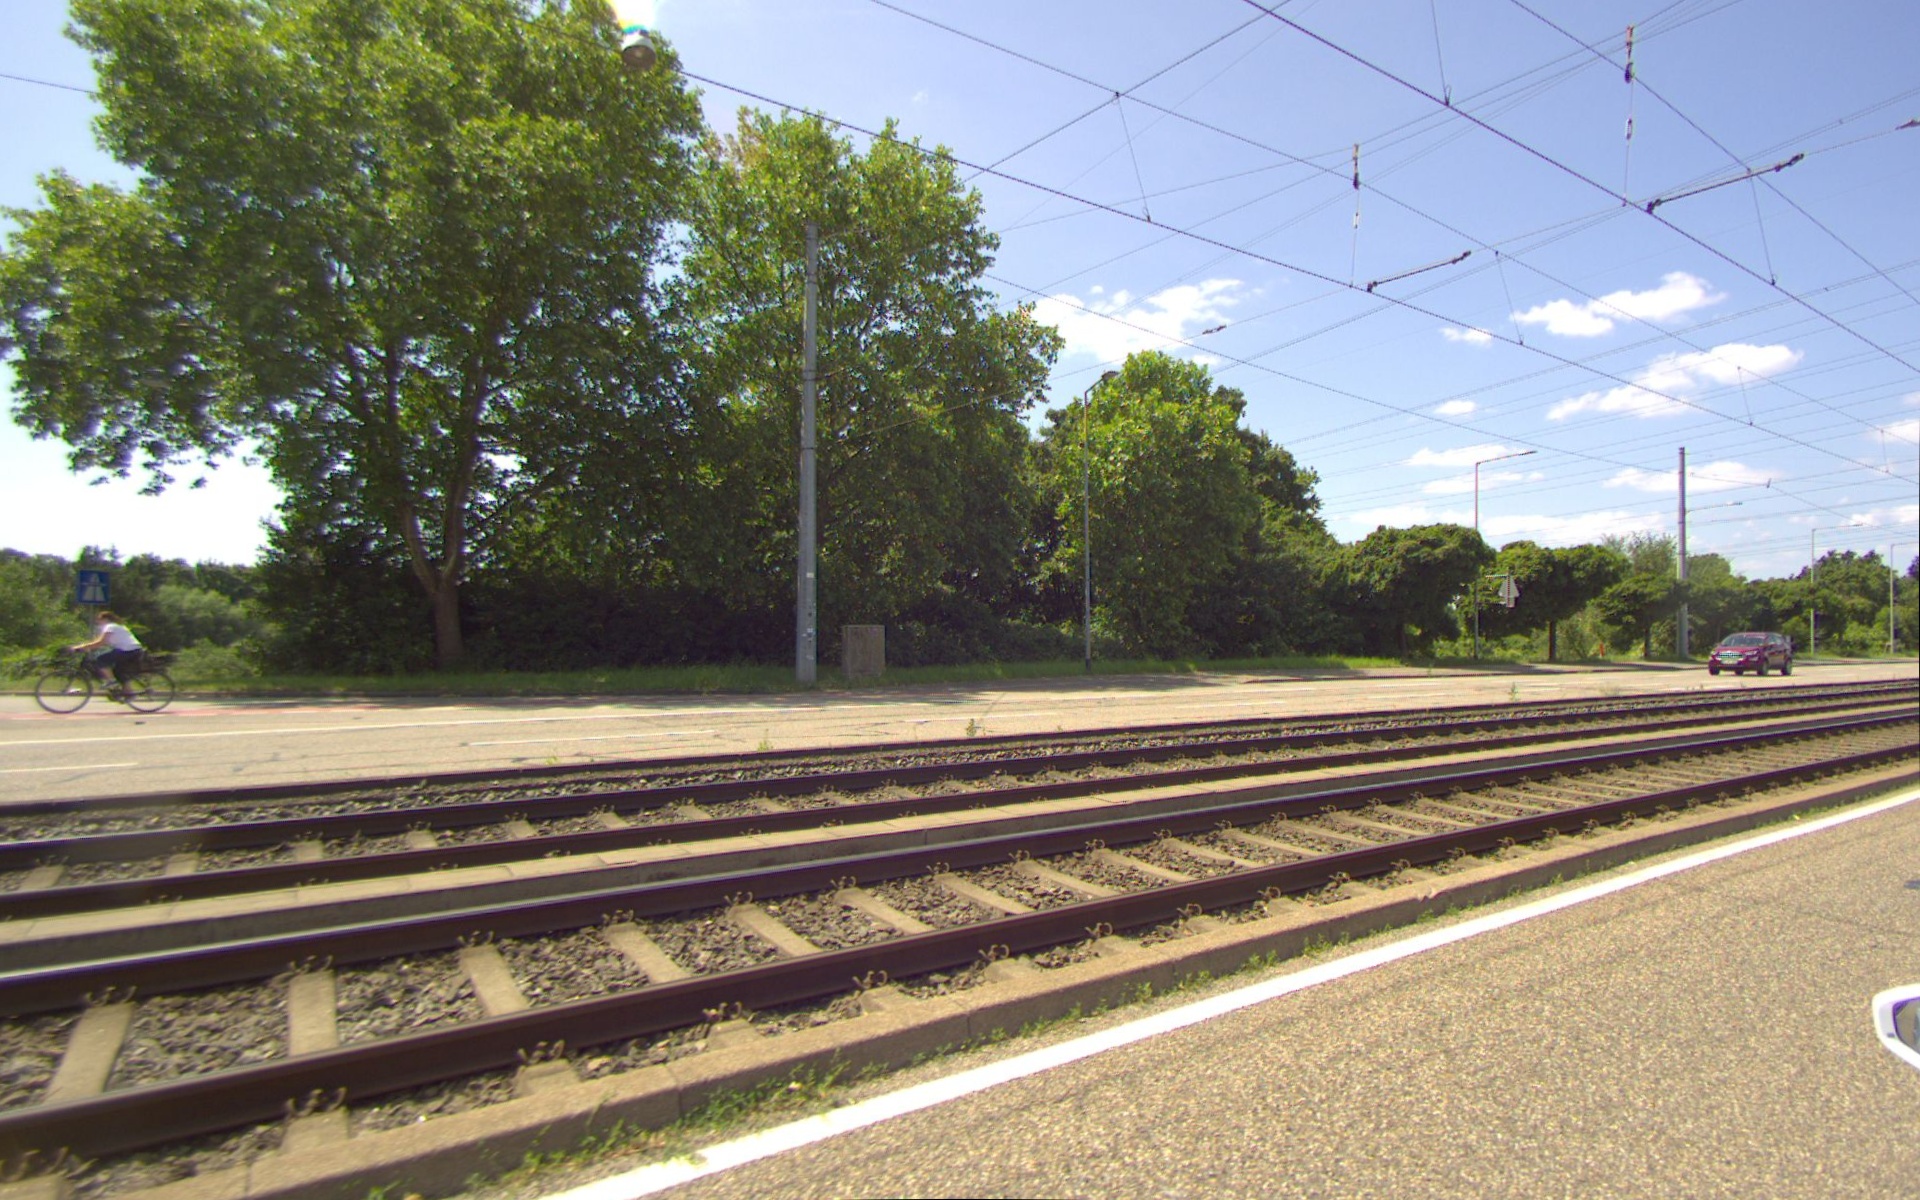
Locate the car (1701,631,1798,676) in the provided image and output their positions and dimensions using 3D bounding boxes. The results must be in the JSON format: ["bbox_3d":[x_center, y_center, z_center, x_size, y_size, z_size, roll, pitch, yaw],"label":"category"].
[{"bbox_3d":[30.634,2.044,38.933,4.169,1.646,1.790,1,-3,-35],"label":"car"}]

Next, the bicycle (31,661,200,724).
[{"bbox_3d":[-13.957,1.513,16.687,2.070,0.952,0.617,1,-2,-35],"label":"bicycle"}]

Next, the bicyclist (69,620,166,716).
[{"bbox_3d":[-13.968,1.102,16.681,1.149,1.538,0.617,1,-1,-35],"label":"bicyclist"}]
